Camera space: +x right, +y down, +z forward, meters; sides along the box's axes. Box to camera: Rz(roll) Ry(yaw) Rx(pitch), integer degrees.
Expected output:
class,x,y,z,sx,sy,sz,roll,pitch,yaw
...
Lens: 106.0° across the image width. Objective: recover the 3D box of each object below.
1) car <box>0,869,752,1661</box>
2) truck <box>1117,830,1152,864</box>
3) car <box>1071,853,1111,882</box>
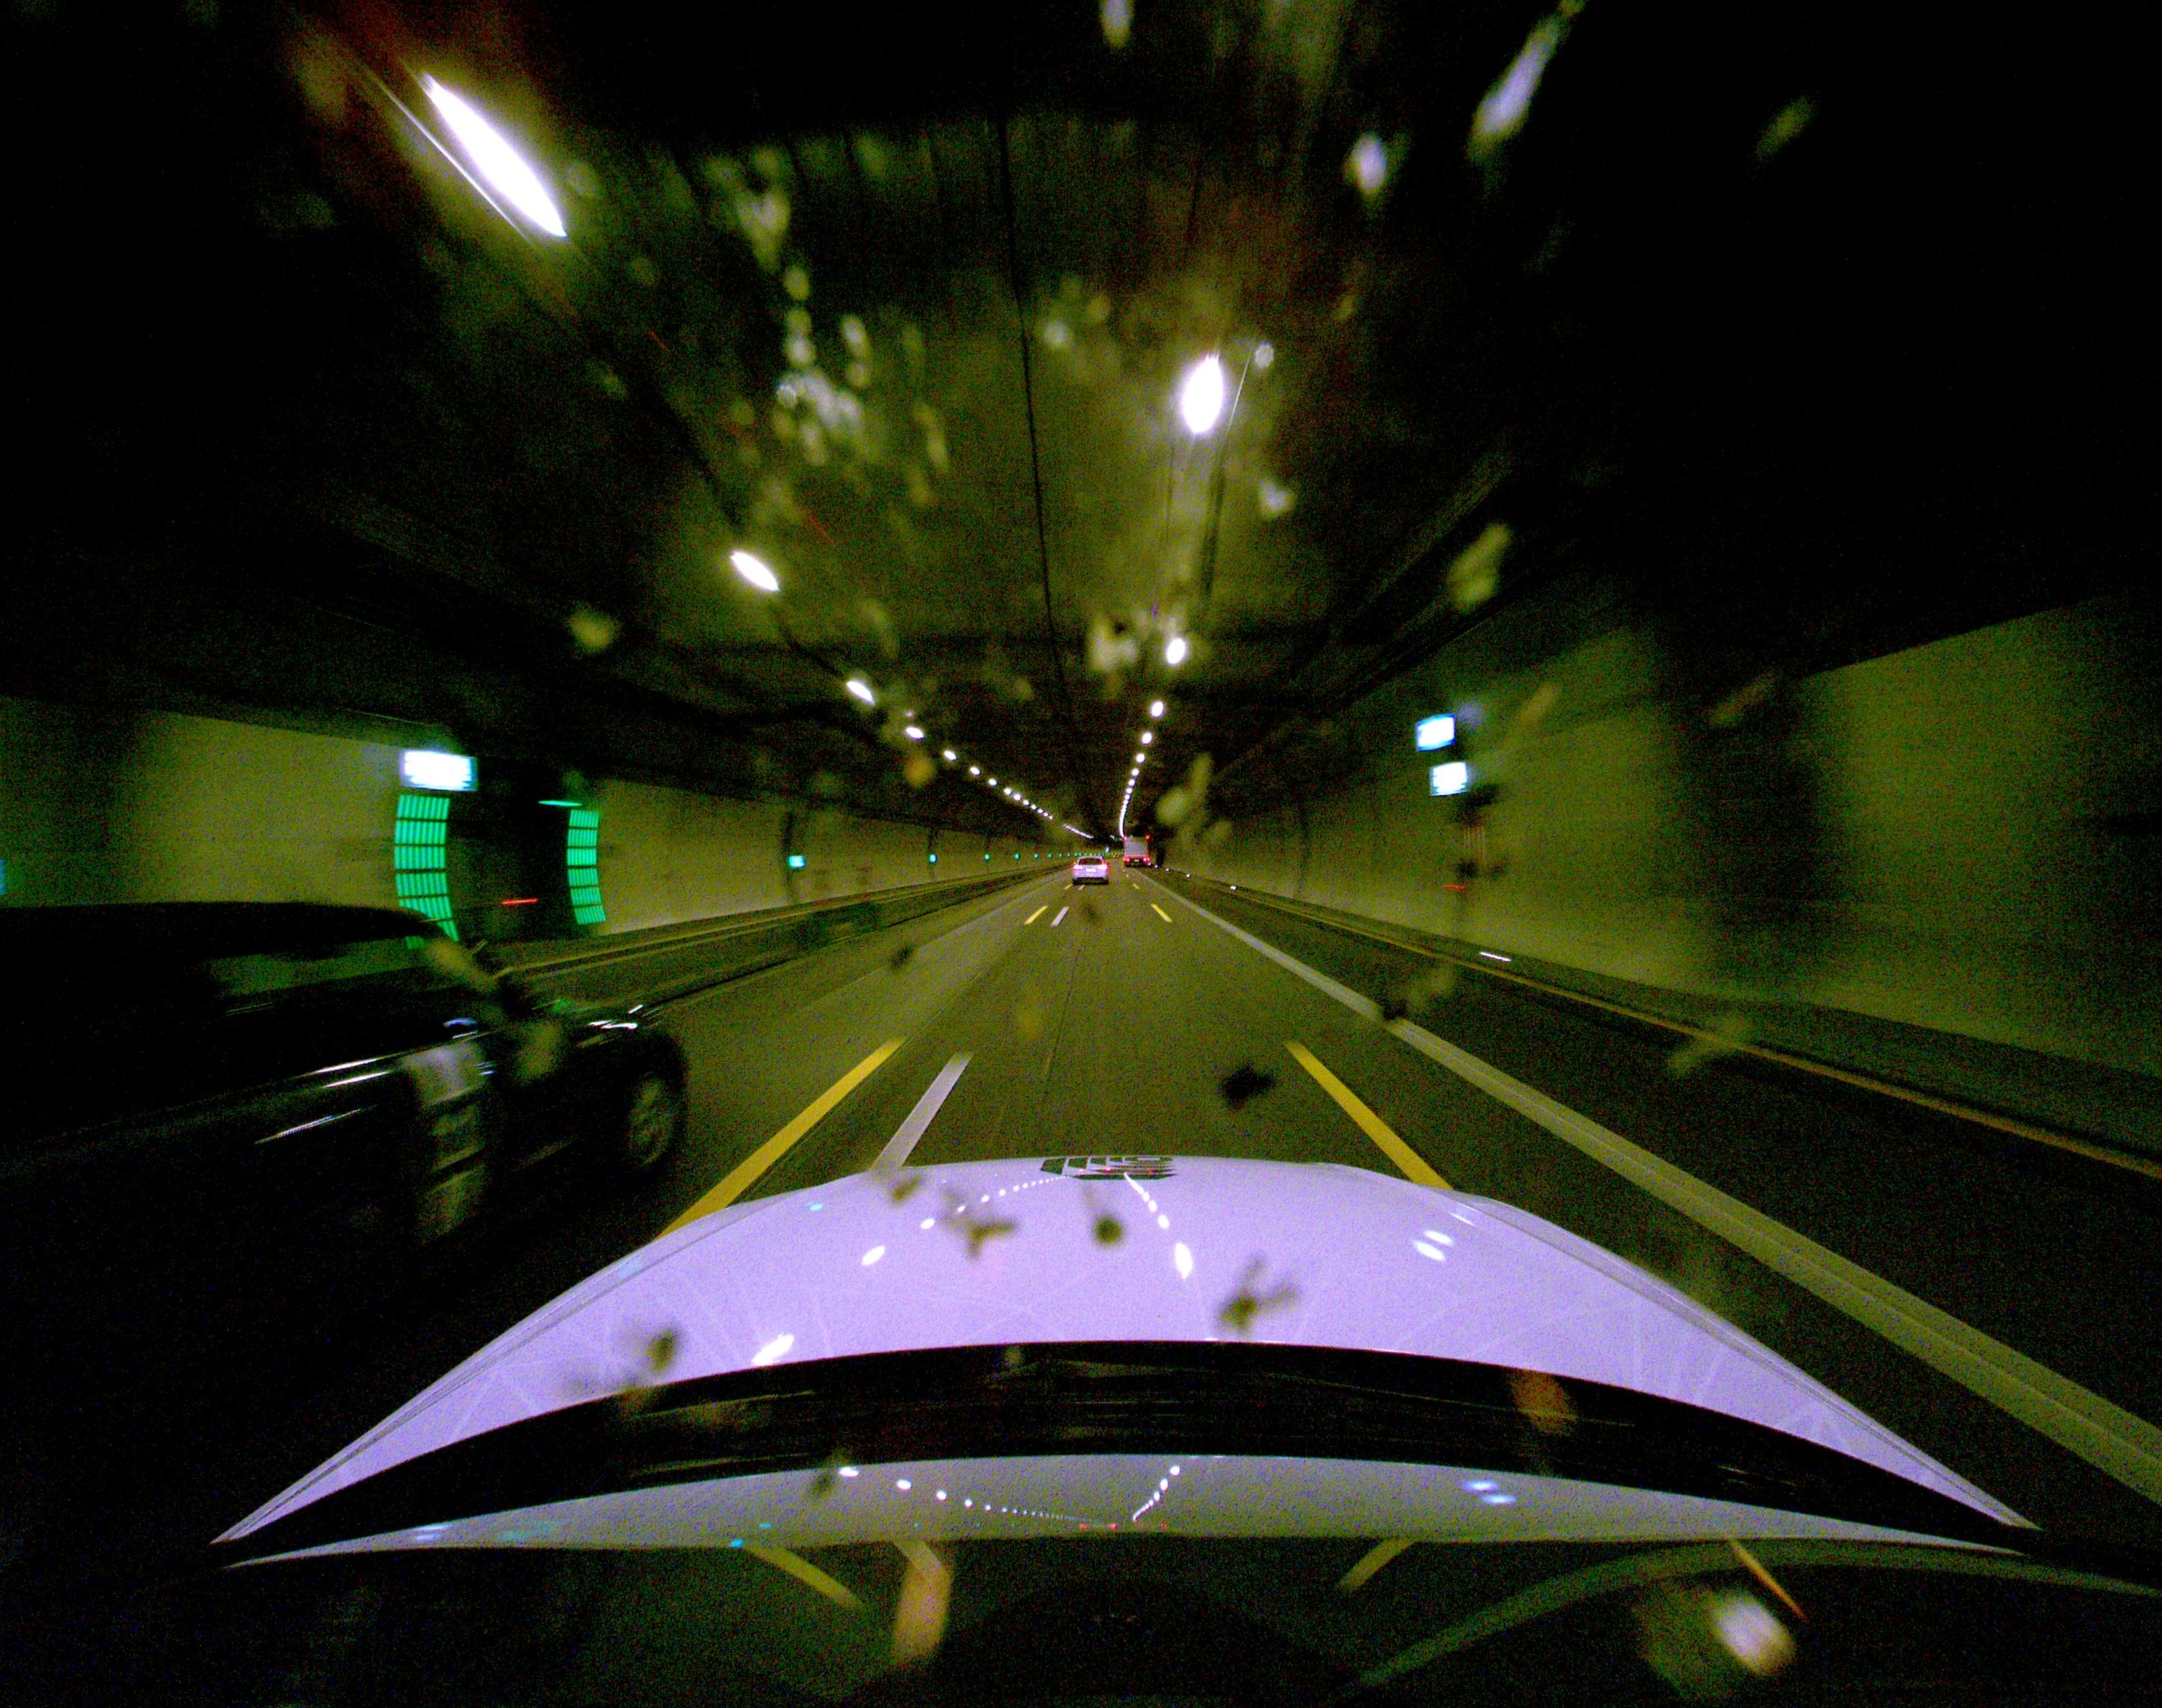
class,x,y,z,sx,sy,sz,roll,pitch,yaw
car,-2.829,0.799,2.841,1.683,1.417,3.924,0,0,1
truck,6.141,-0.788,94.852,3.580,3.650,10.724,0,0,1
car,0.554,0.650,42.674,1.986,1.413,4.743,0,0,1
